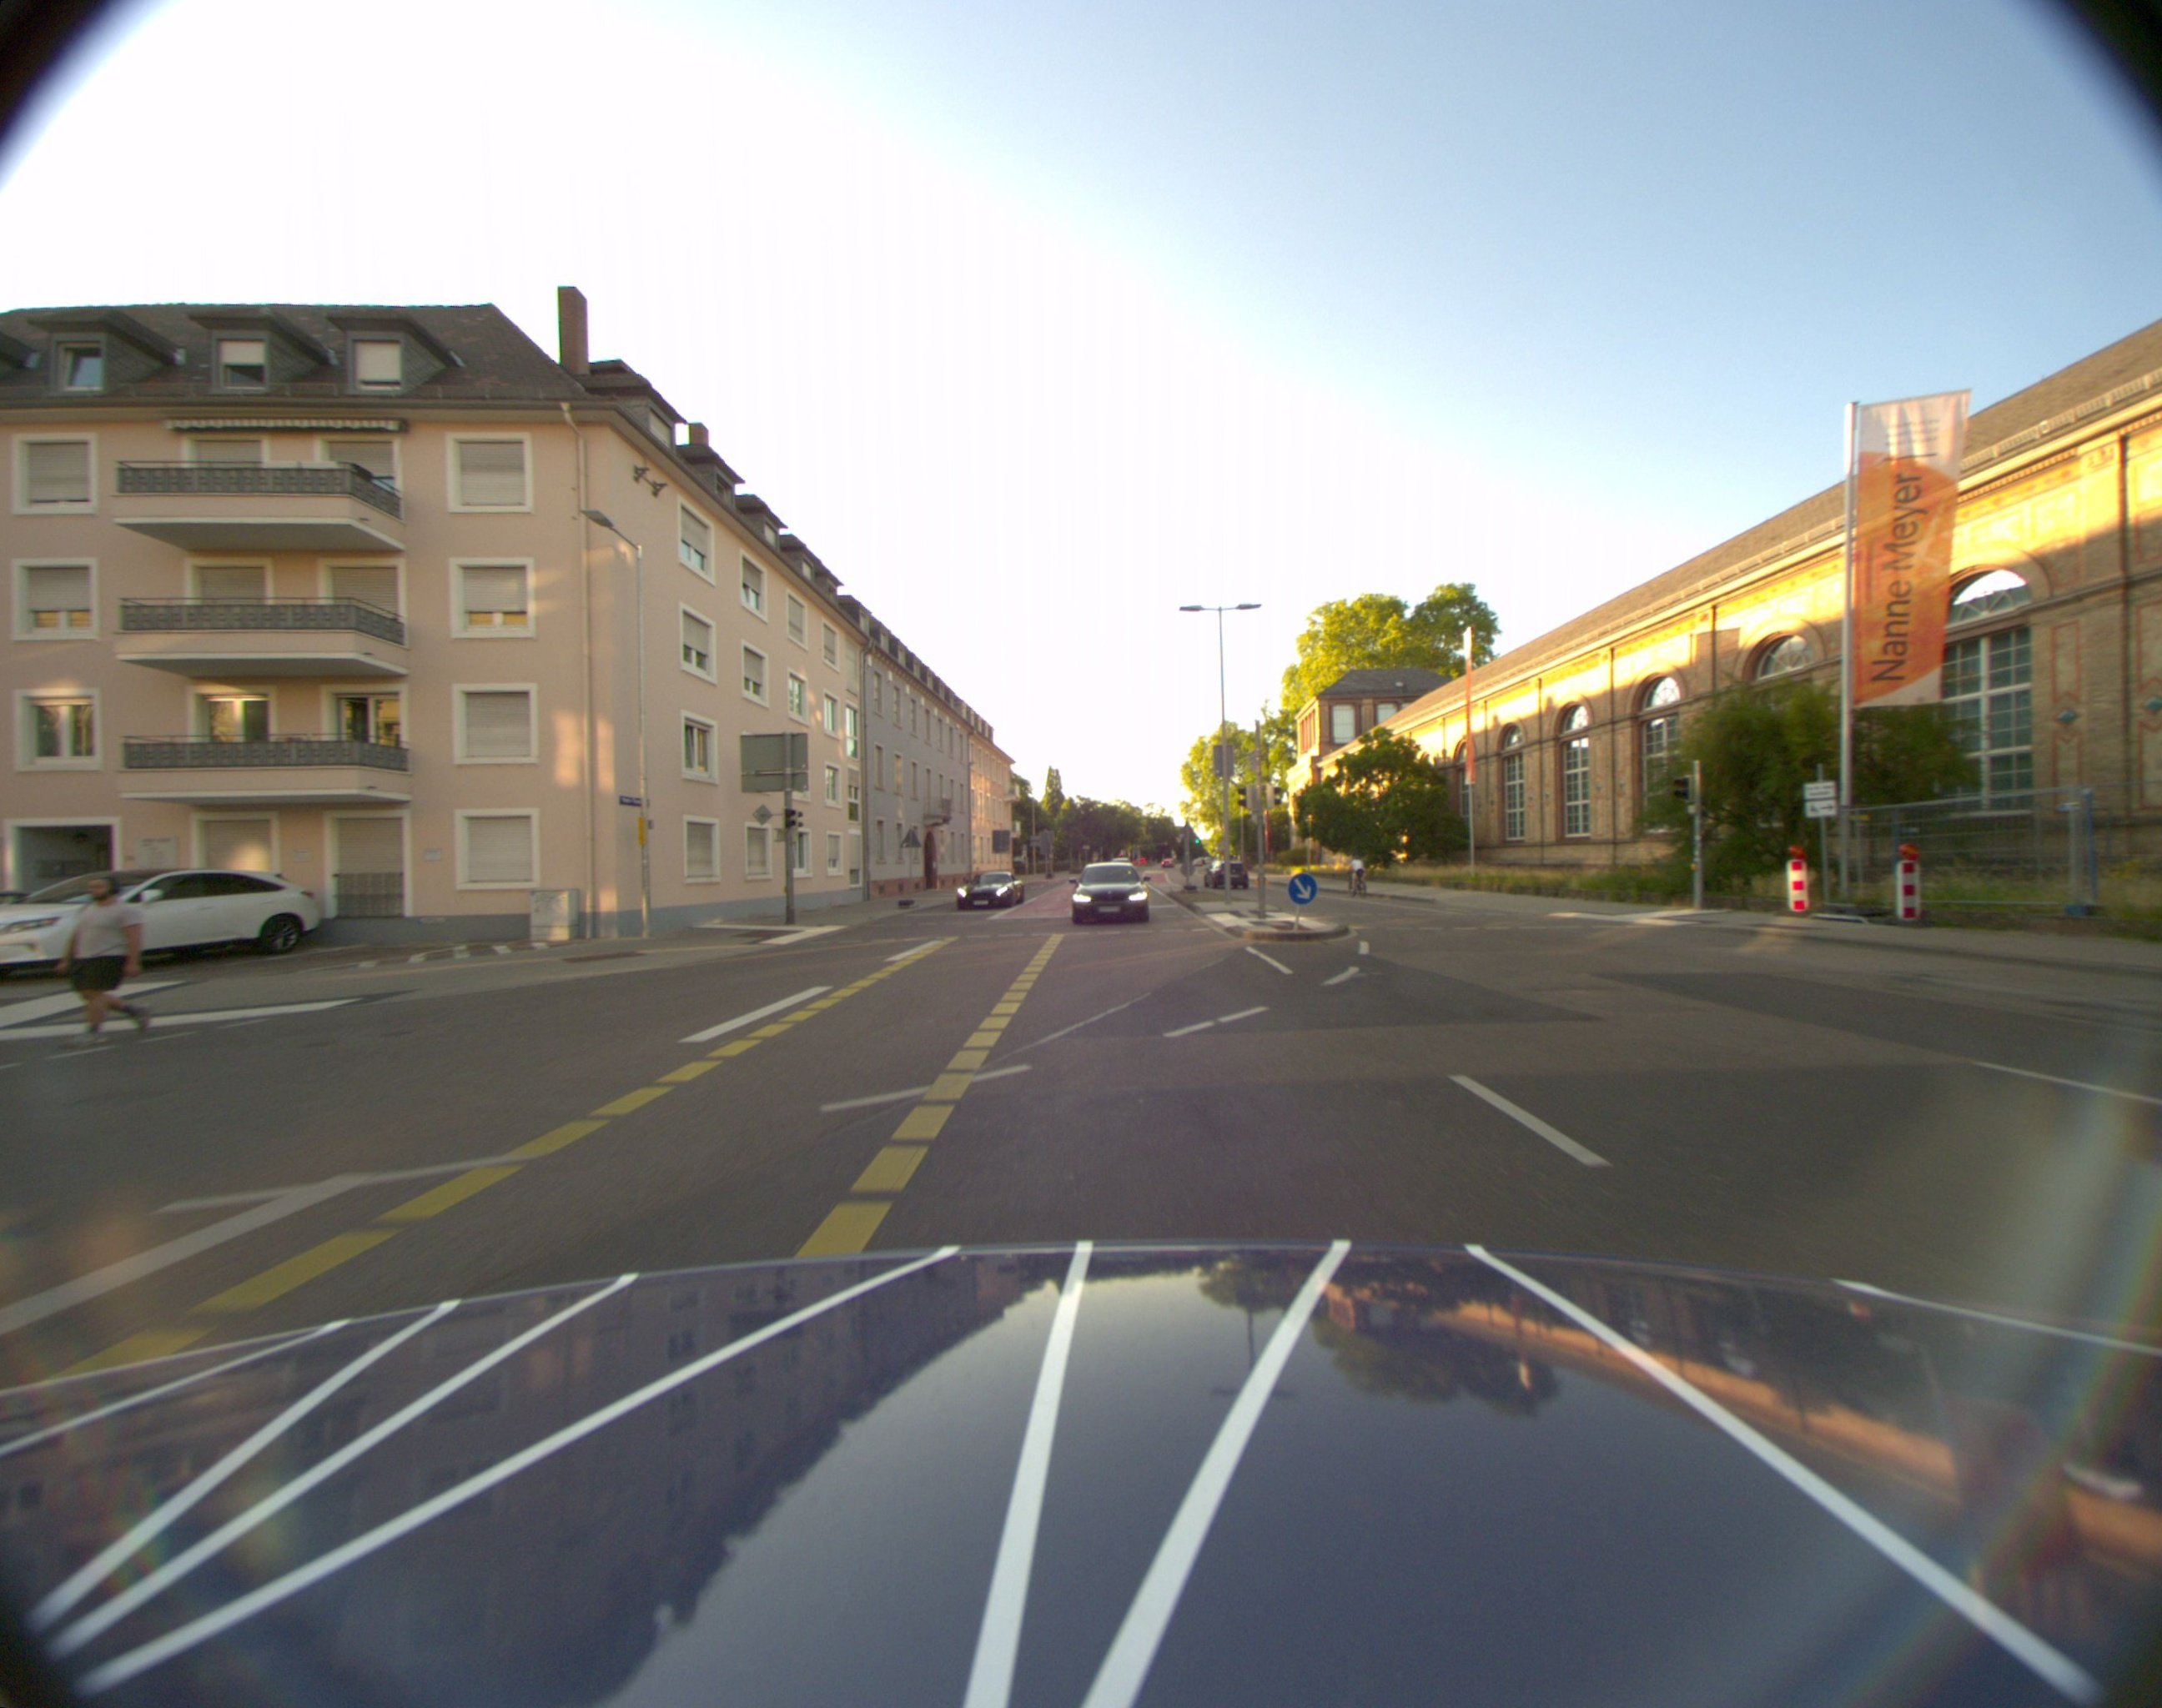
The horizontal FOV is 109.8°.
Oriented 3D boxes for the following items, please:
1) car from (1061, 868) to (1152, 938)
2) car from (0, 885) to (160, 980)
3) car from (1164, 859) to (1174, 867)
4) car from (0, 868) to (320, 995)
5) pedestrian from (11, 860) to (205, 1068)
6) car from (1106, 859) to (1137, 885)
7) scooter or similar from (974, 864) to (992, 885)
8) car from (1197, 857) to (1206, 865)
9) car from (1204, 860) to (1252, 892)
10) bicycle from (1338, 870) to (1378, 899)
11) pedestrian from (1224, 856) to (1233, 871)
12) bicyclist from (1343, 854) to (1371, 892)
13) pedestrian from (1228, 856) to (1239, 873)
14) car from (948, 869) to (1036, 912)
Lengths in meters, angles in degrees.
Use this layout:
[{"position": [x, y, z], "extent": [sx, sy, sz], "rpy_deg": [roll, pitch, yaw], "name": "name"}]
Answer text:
[{"position": [0.761, 1.120, 18.989], "extent": [1.963, 1.378, 4.783], "rpy_deg": [-2, 0, 5], "name": "car"}, {"position": [-18.981, 1.364, 12.842], "extent": [1.924, 1.504, 4.028], "rpy_deg": [-1, 0, -1], "name": "car"}, {"position": [16.015, 1.633, 138.299], "extent": [1.775, 1.455, 4.002], "rpy_deg": [0, 0, 7], "name": "car"}, {"position": [-16.288, 1.165, 13.016], "extent": [1.999, 1.739, 4.475], "rpy_deg": [-1, 0, -1], "name": "car"}, {"position": [-10.124, 1.080, 7.939], "extent": [0.786, 2.002, 0.995], "rpy_deg": [-2, 0, 17], "name": "pedestrian"}, {"position": [2.827, 1.221, 53.903], "extent": [1.839, 1.674, 4.223], "rpy_deg": [-3, 0, -1], "name": "car"}, {"position": [-6.986, 1.443, 54.378], "extent": [0.726, 1.450, 1.674], "rpy_deg": [1, 0, 13], "name": "scooter or similar"}, {"position": [25.455, 1.476, 160.543], "extent": [1.919, 1.674, 4.003], "rpy_deg": [-2, 0, 10], "name": "car"}, {"position": [7.679, 1.119, 40.033], "extent": [1.827, 1.499, 4.428], "rpy_deg": [-1, 0, 3], "name": "car"}, {"position": [10.896, 1.176, 29.994], "extent": [0.755, 1.084, 1.932], "rpy_deg": [0, 0, -4], "name": "bicycle"}, {"position": [15.245, 1.029, 78.561], "extent": [0.675, 1.504, 0.836], "rpy_deg": [-4, -2, 6], "name": "pedestrian"}, {"position": [10.891, 0.741, 30.008], "extent": [0.749, 1.451, 0.937], "rpy_deg": [0, 0, -4], "name": "bicyclist"}, {"position": [15.737, 1.118, 78.439], "extent": [0.807, 1.728, 0.851], "rpy_deg": [-2, 0, 27], "name": "pedestrian"}, {"position": [-3.178, 1.286, 28.151], "extent": [2.182, 1.293, 4.360], "rpy_deg": [-3, 0, 7], "name": "car"}]
